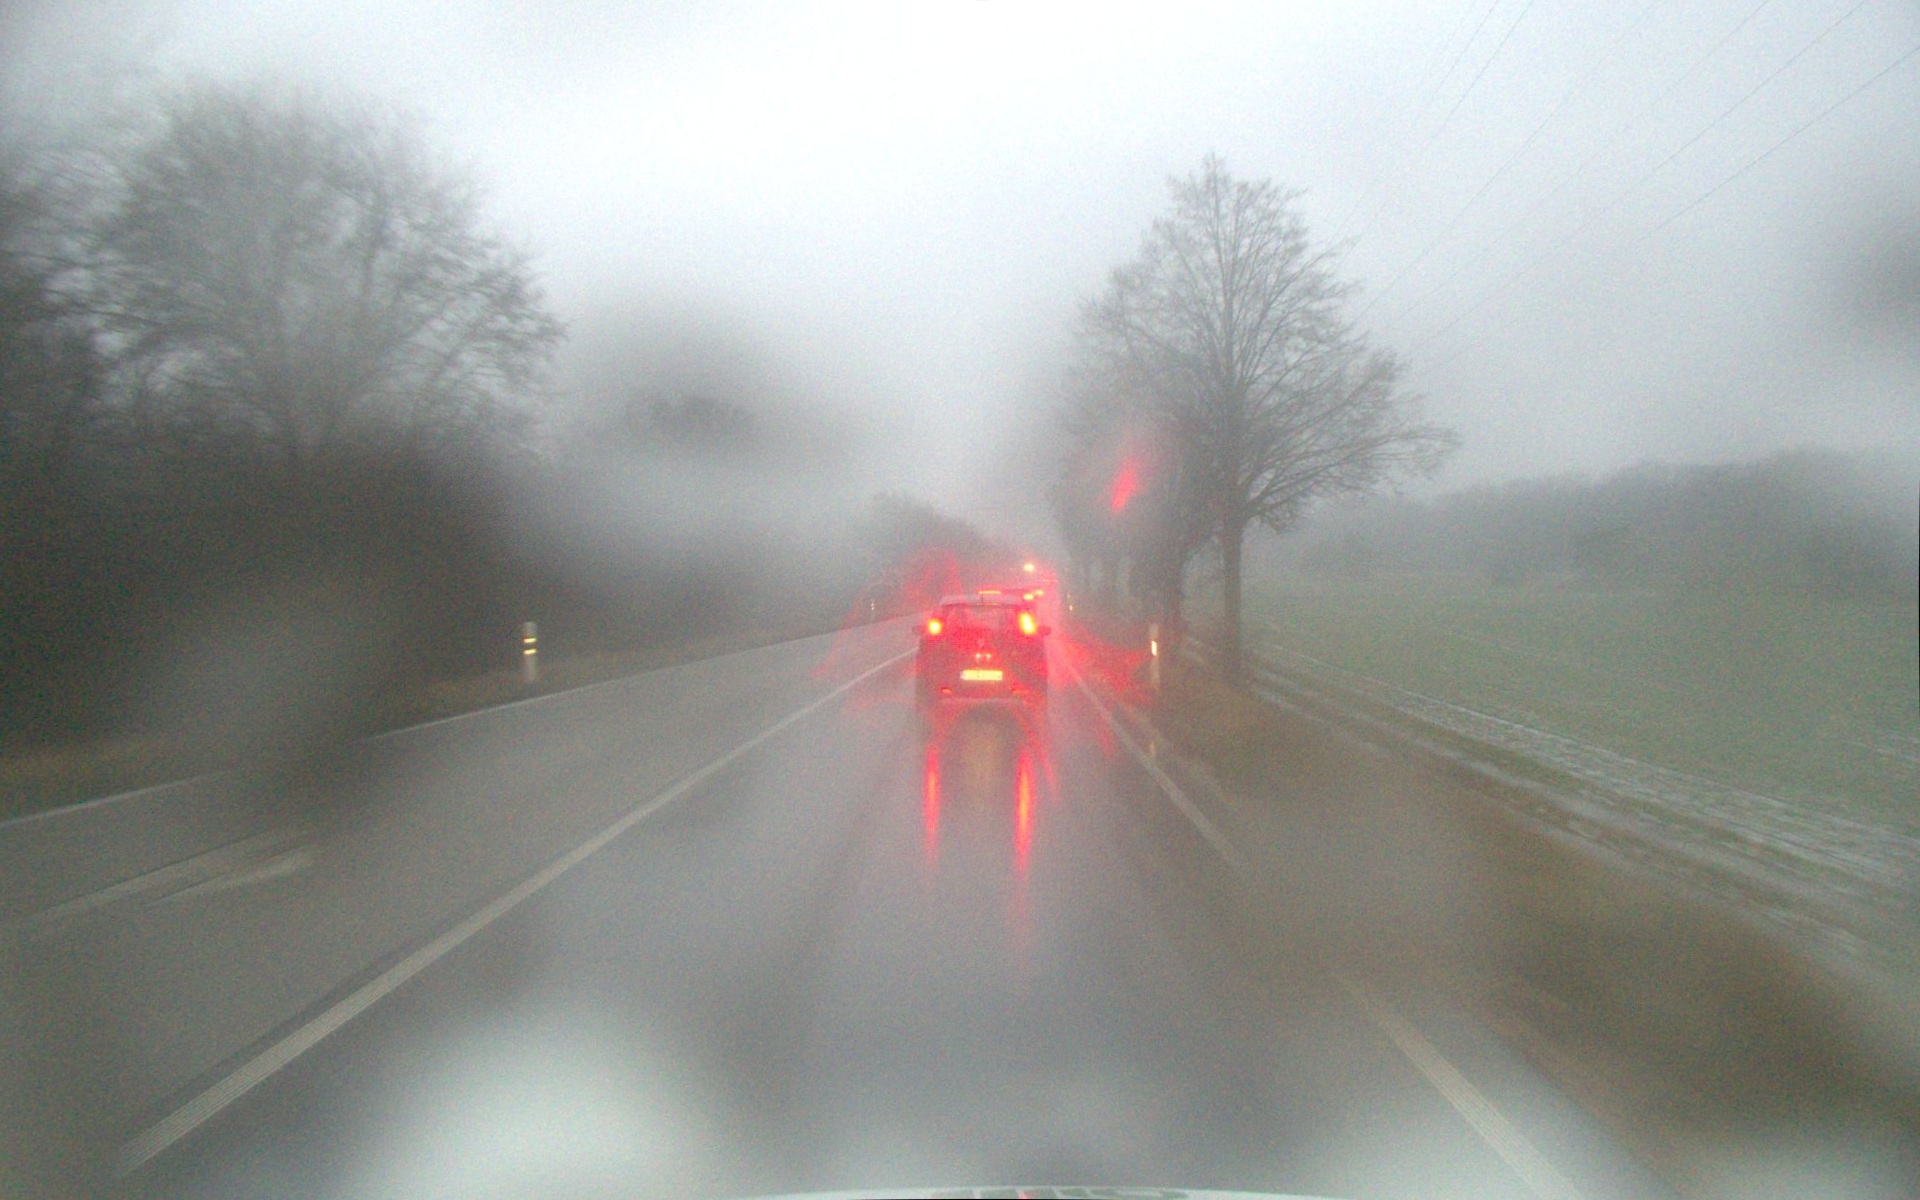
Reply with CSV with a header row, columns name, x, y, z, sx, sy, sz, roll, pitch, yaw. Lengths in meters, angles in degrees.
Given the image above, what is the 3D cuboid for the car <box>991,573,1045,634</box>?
name,x,y,z,sx,sy,sz,roll,pitch,yaw
car,2.593,0.126,73.424,1.952,2.046,4.006,6,7,5

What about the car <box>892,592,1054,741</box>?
name,x,y,z,sx,sy,sz,roll,pitch,yaw
car,0.274,0.809,22.376,1.952,1.782,4.002,0,1,4
